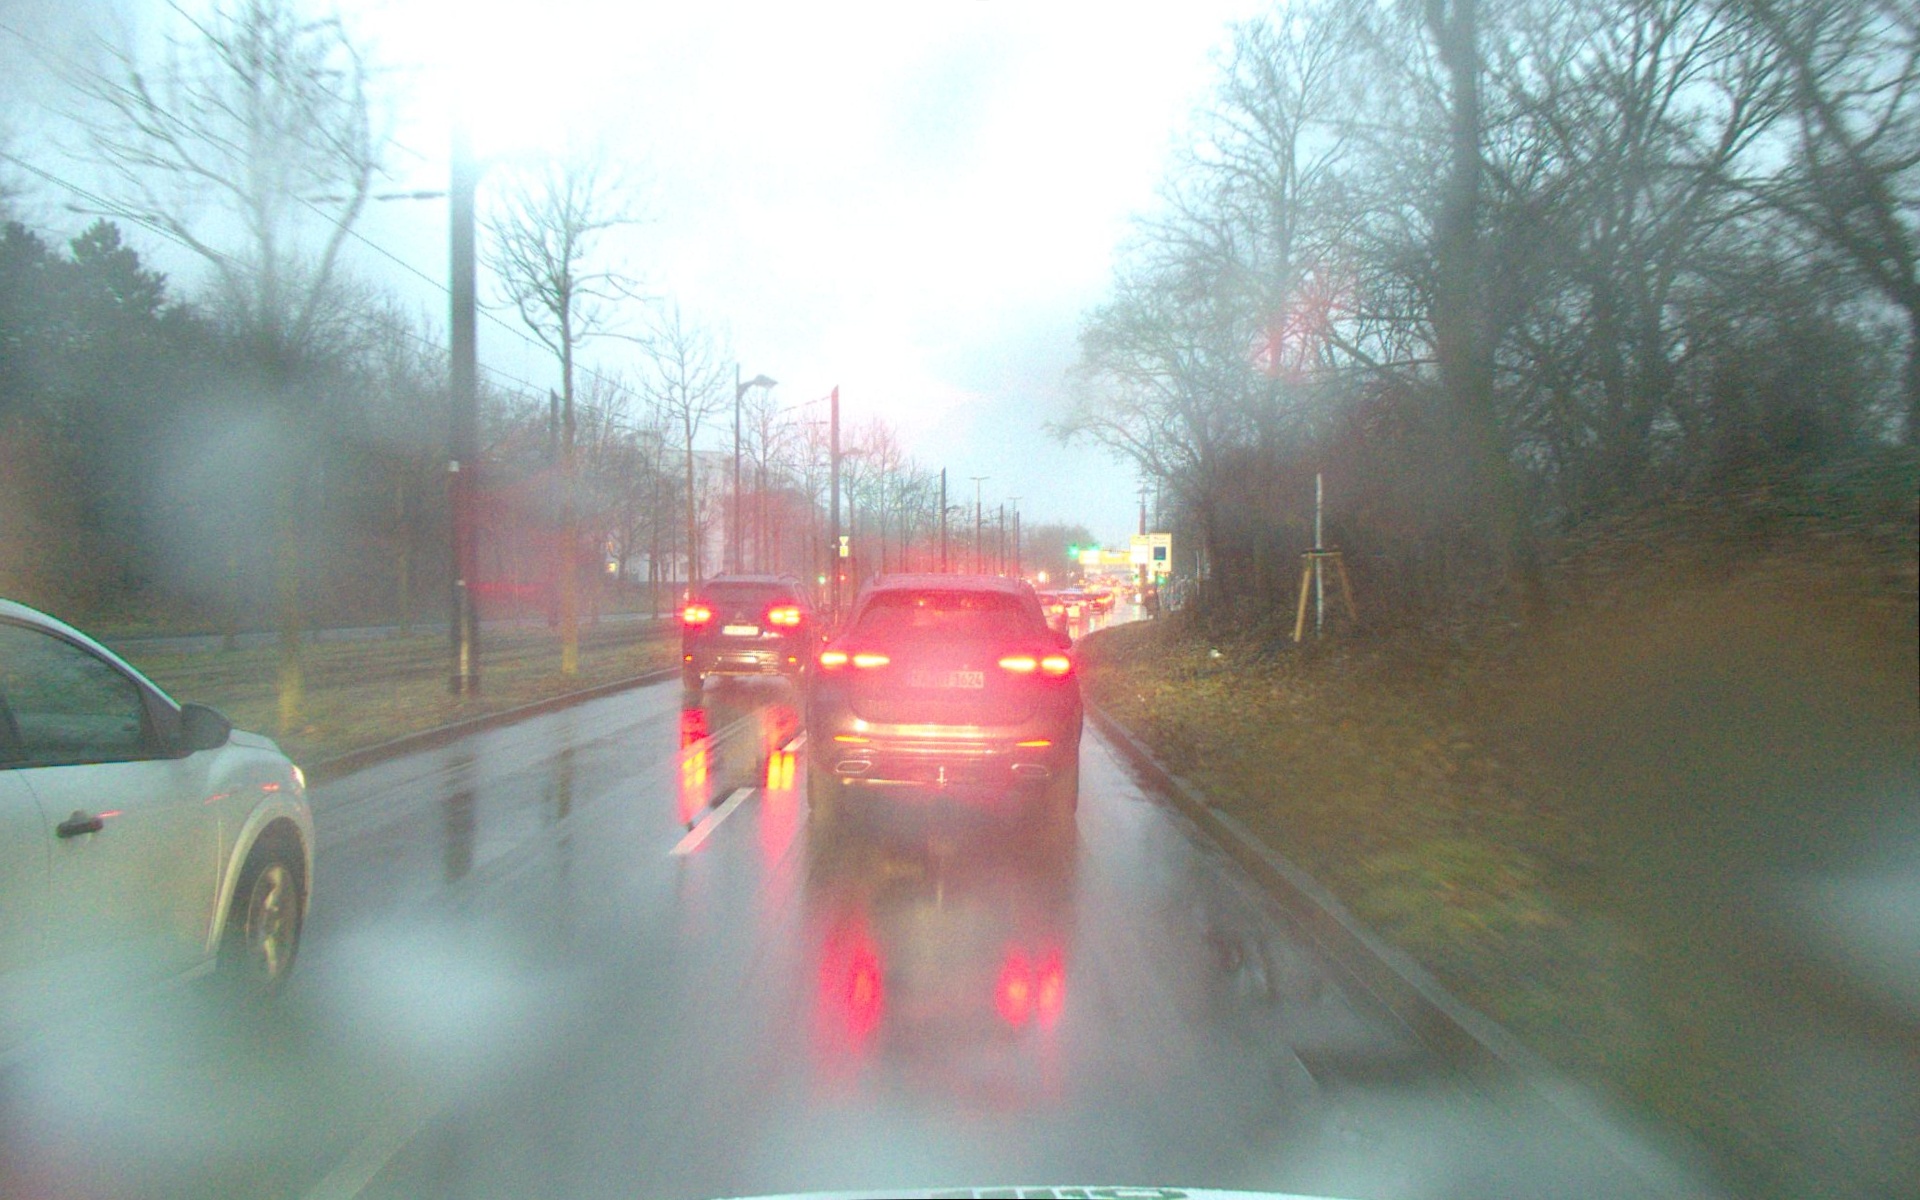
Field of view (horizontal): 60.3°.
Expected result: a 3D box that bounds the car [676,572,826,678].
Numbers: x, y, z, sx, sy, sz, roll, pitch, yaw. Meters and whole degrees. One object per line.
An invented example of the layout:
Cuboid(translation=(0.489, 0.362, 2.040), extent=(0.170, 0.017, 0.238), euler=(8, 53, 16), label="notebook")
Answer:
Cuboid(translation=(-3.097, 0.314, 25.233), extent=(1.842, 1.484, 3.999), euler=(0, 1, -1), label="car")

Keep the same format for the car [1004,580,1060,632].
Cuboid(translation=(2.276, 0.179, 52.823), extent=(1.673, 1.585, 3.997), euler=(0, 0, 1), label="car")

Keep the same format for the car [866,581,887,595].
Cuboid(translation=(-10.577, -1.491, 209.795), extent=(1.951, 1.687, 4.003), euler=(1, 0, 6), label="car")

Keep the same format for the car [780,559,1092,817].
Cuboid(translation=(-0.180, 0.534, 12.431), extent=(1.957, 1.612, 3.999), euler=(1, 1, -1), label="car")

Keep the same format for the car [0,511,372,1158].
Cuboid(translation=(-3.137, 0.560, 4.376), extent=(1.673, 1.551, 4.135), euler=(0, 0, 0), label="car")
